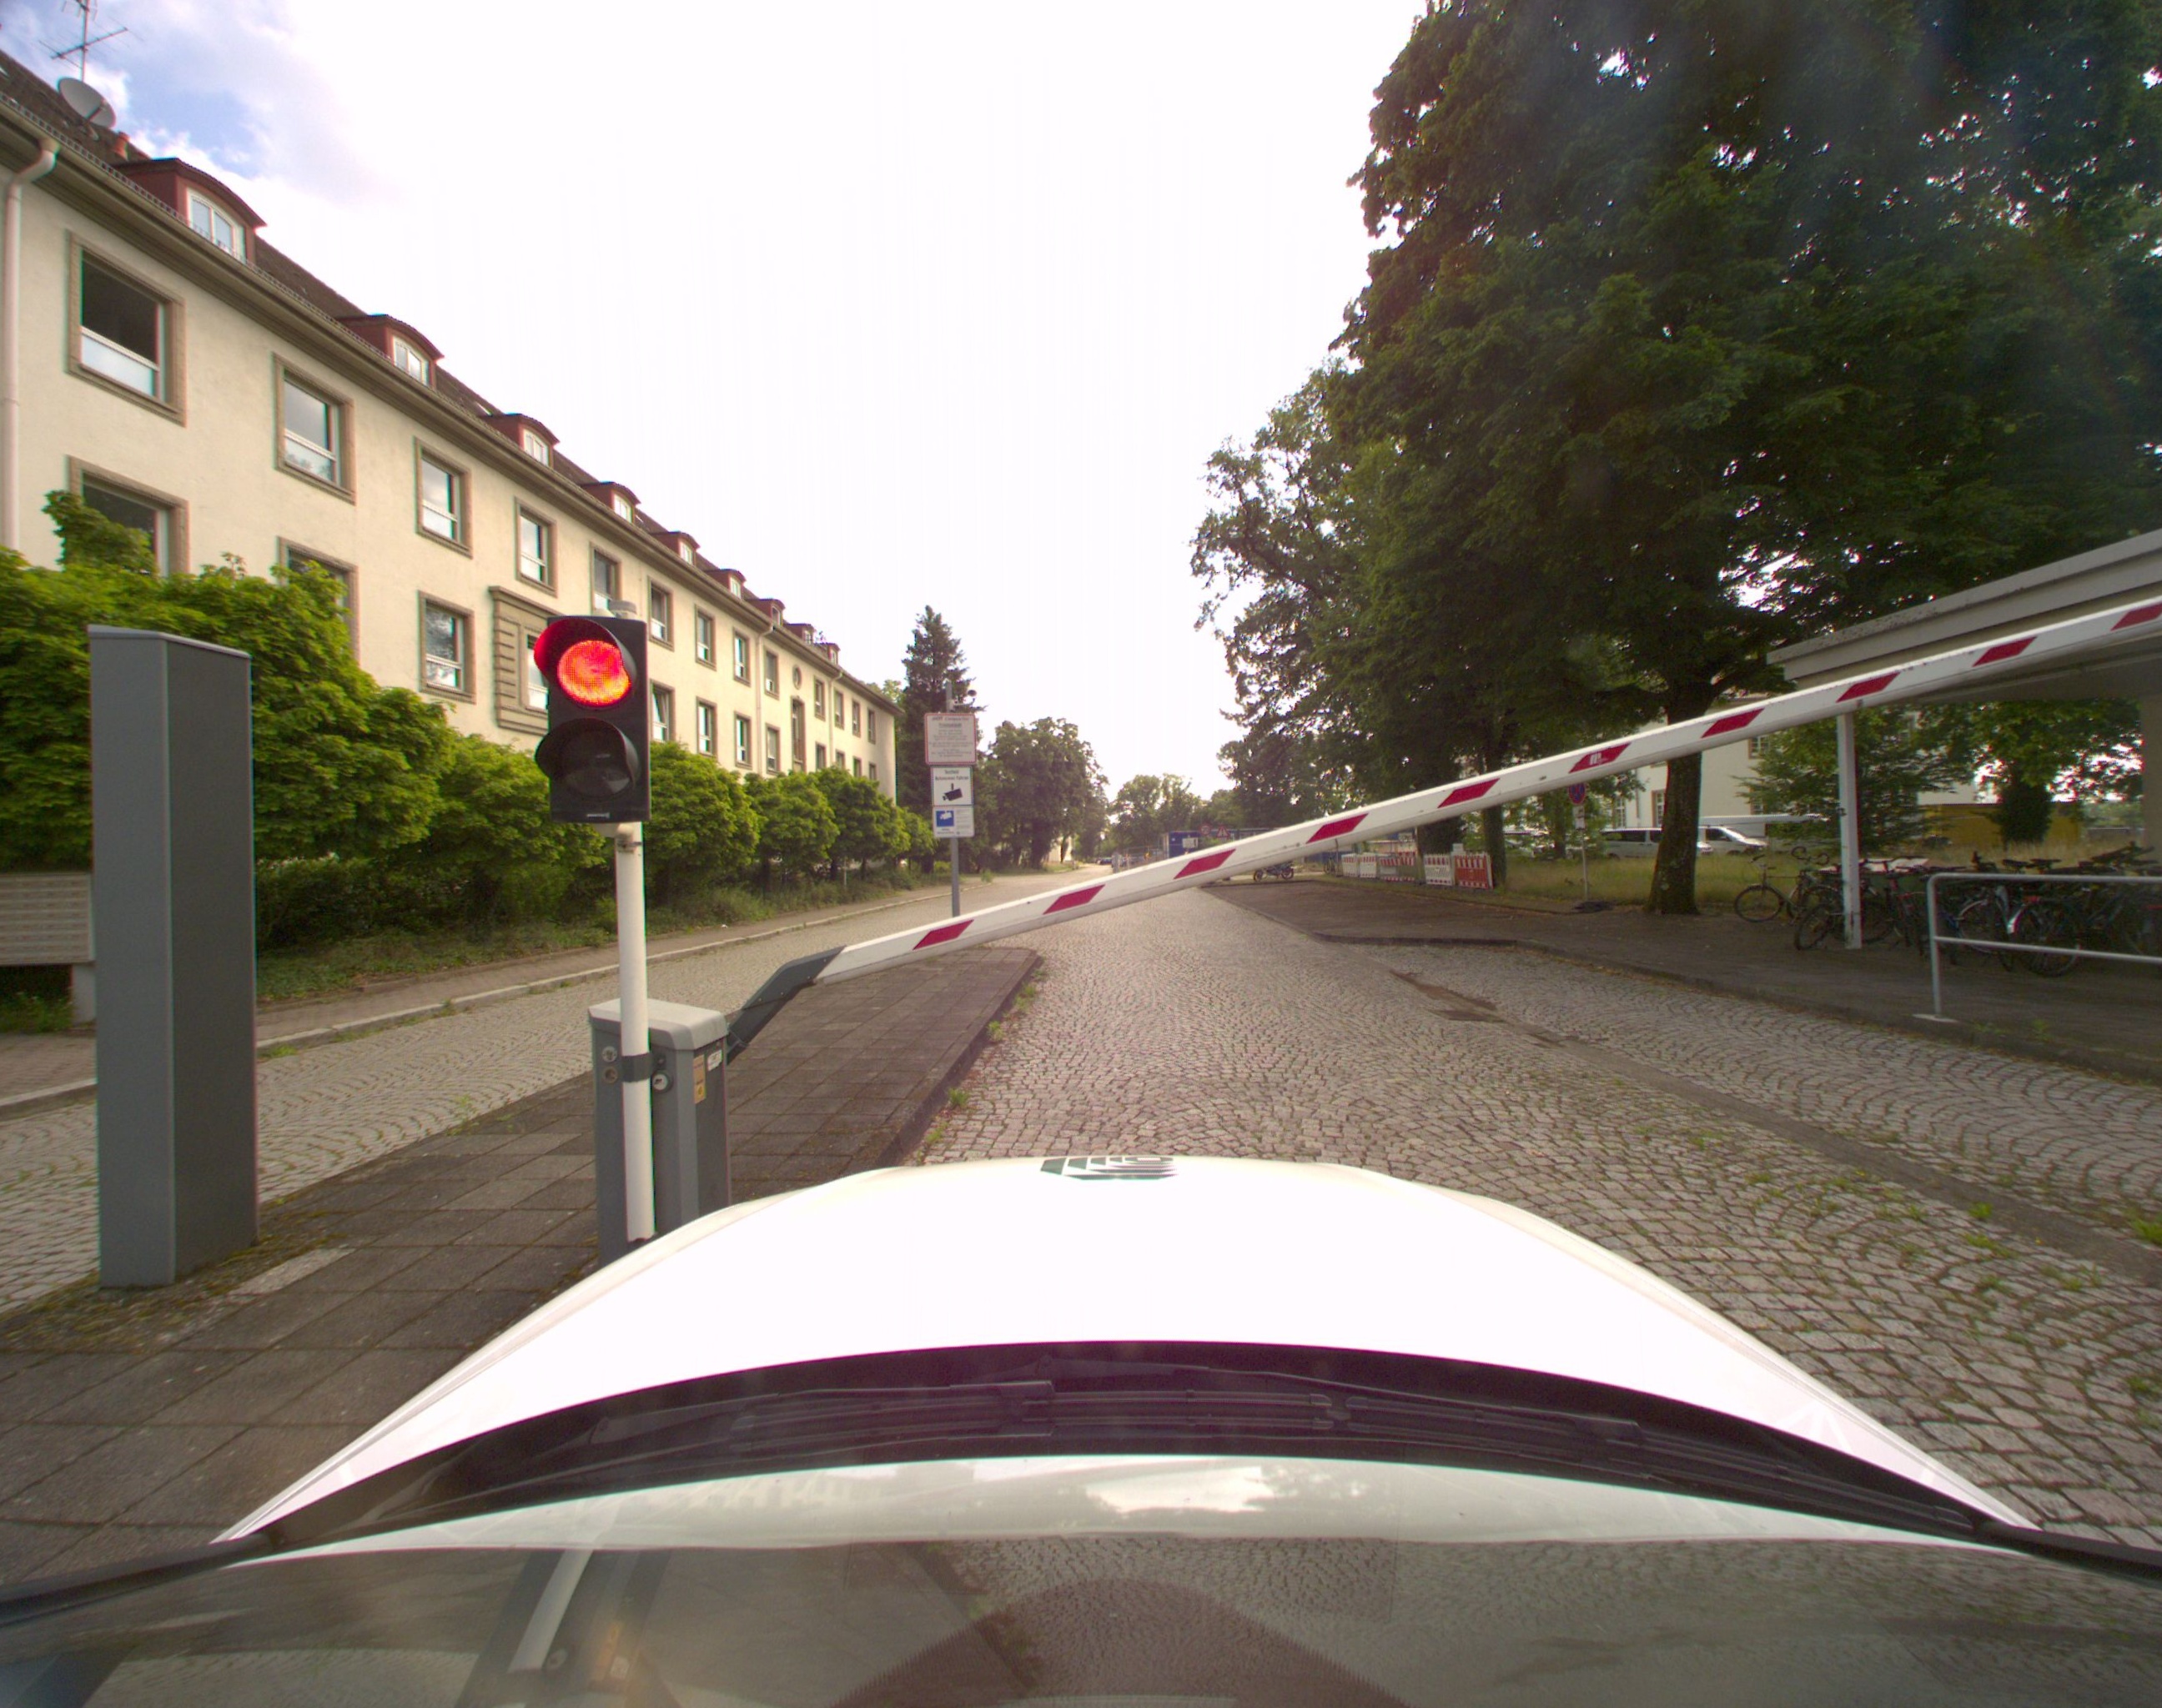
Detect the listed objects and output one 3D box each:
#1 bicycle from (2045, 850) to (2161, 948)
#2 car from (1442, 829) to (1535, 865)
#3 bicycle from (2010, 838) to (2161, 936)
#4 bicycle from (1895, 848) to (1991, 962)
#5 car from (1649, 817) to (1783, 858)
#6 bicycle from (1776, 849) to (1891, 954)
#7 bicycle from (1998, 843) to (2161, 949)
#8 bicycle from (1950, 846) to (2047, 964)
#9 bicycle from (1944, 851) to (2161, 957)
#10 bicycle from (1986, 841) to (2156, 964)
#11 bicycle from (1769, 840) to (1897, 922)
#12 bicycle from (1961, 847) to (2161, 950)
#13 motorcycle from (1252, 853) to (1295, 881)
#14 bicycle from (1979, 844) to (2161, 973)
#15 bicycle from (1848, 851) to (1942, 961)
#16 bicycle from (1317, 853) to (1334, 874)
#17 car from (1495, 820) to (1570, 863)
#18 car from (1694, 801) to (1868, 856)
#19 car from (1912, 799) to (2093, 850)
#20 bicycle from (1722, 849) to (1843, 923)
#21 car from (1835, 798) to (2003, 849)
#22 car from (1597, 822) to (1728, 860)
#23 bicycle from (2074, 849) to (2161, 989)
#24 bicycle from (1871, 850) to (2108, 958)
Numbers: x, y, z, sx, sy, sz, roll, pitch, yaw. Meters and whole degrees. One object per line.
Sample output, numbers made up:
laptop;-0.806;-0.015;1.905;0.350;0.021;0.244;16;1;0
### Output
bicycle;12.198;0.499;9.094;0.371;1.083;1.892;-2;-2;-8
car;22.895;-0.368;45.887;4.201;1.820;2.002;-2;-1;4
bicycle;12.635;0.389;9.934;0.370;1.128;1.898;-2;-2;1
bicycle;9.527;0.539;8.991;1.387;1.171;0.355;-1;-3;-30
car;31.181;-0.773;40.188;2.004;1.789;4.799;-1;-1;-26
bicycle;9.190;0.561;9.941;1.384;1.171;0.430;-3;-2;-23
bicycle;11.779;0.451;9.262;0.371;1.119;1.893;-2;1;-8
bicycle;9.818;0.517;8.703;1.387;1.171;0.355;-1;-3;-30
bicycle;11.049;0.512;9.193;0.371;1.067;1.907;-2;0;-8
bicycle;10.152;0.489;8.364;1.377;1.171;0.358;-2;-3;-7
bicycle;11.678;0.429;12.715;0.502;1.171;1.555;-2;-3;2
bicycle;11.397;0.489;9.309;0.371;1.081;1.893;-2;-2;-8
motorcycle;9.446;0.642;40.037;1.950;1.194;0.461;-3;4;0
bicycle;9.847;0.515;7.945;1.796;1.171;0.358;-2;-3;-4
bicycle;9.359;0.573;9.356;1.387;1.171;0.355;-1;-3;-30
bicycle;12.452;0.483;41.507;0.330;1.008;1.726;-2;-2;2
car;27.522;-0.714;49.877;1.984;2.424;5.365;-2;-1;6
car;34.277;-1.178;40.175;2.005;2.308;6.142;-1;-1;-29
car;44.291;-1.345;39.430;2.431;1.957;5.698;-2;-2;4
bicycle;11.078;0.507;12.933;0.502;1.087;1.585;-2;-2;0
car;40.427;-1.379;39.584;2.431;1.957;5.698;-2;-2;4
car;28.395;-0.586;39.958;2.004;1.650;4.799;-1;-1;-26
bicycle;9.880;0.543;7.358;1.749;1.171;0.494;-2;-3;-18
bicycle;10.452;0.530;9.464;0.446;1.119;1.785;-1;0;-23
